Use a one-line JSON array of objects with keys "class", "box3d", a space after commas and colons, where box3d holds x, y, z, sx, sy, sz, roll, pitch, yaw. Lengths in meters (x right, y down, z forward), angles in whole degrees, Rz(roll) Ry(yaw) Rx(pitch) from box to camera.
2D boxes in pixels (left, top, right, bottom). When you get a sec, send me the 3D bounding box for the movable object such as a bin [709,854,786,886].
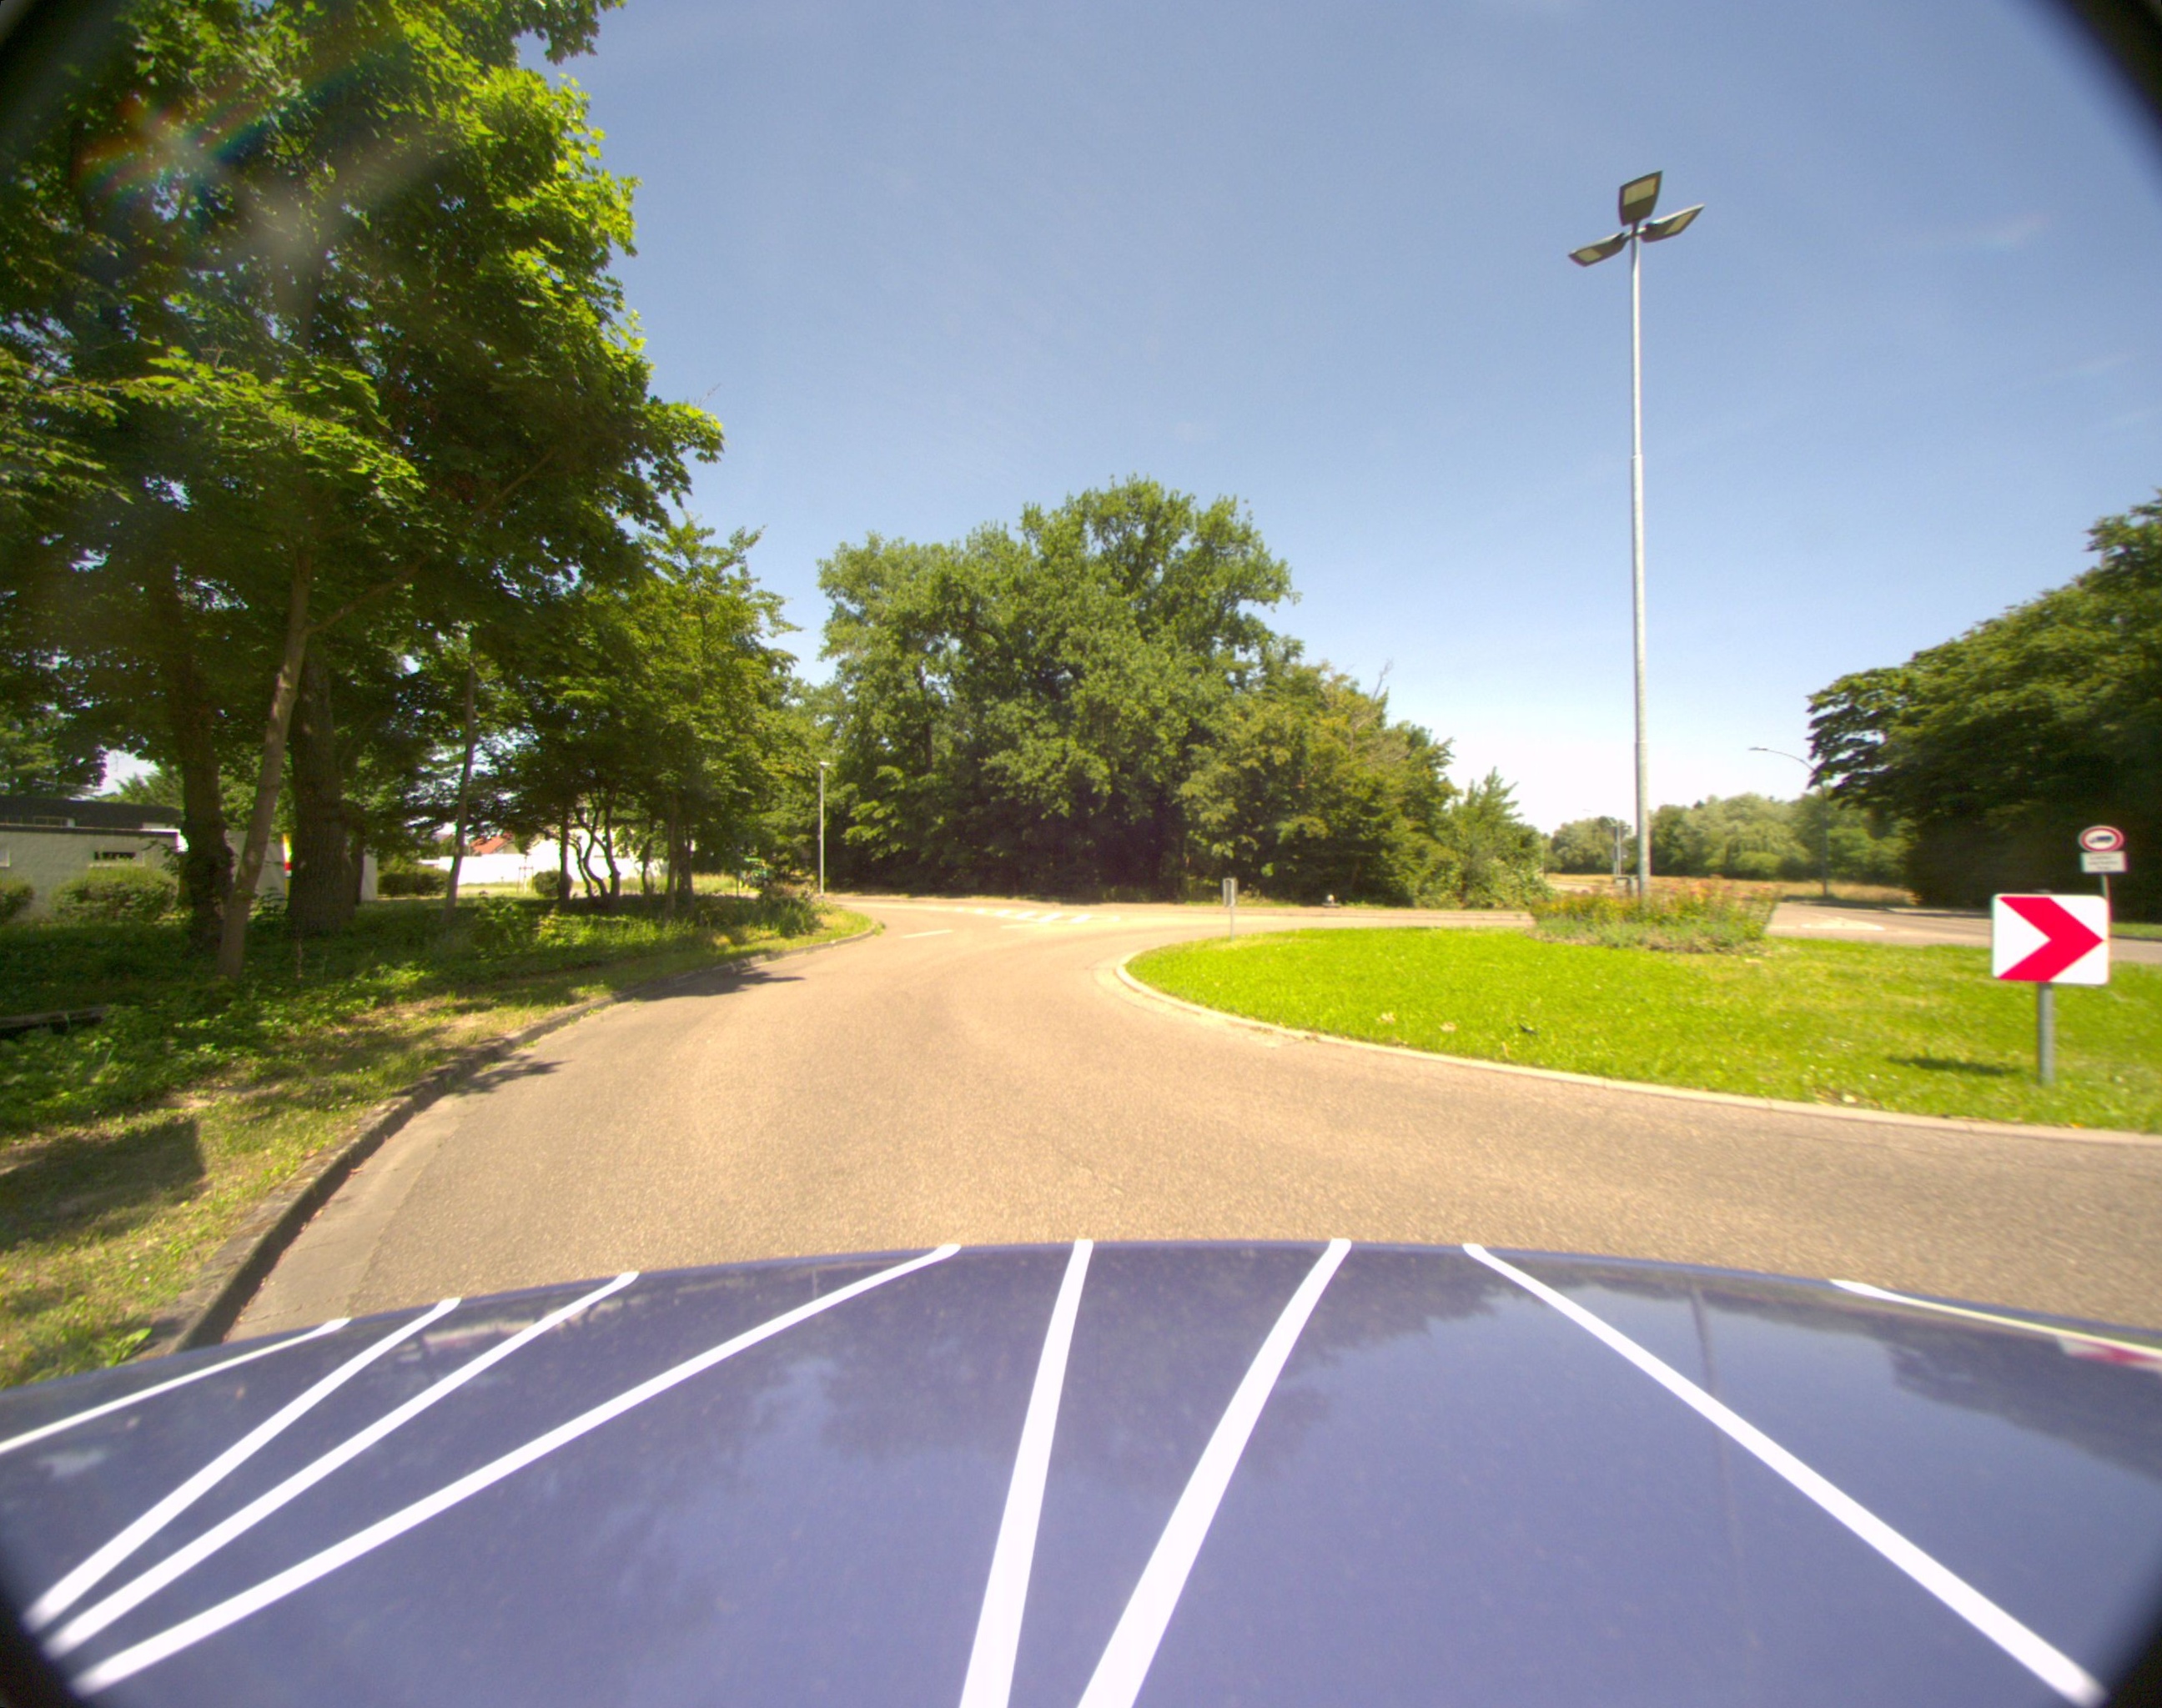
[{"class": "movable object such as a bin", "box3d": [-24.380, 1.139, 55.548, 5.225, 2.263, 2.529, 0, -1, 30]}]
